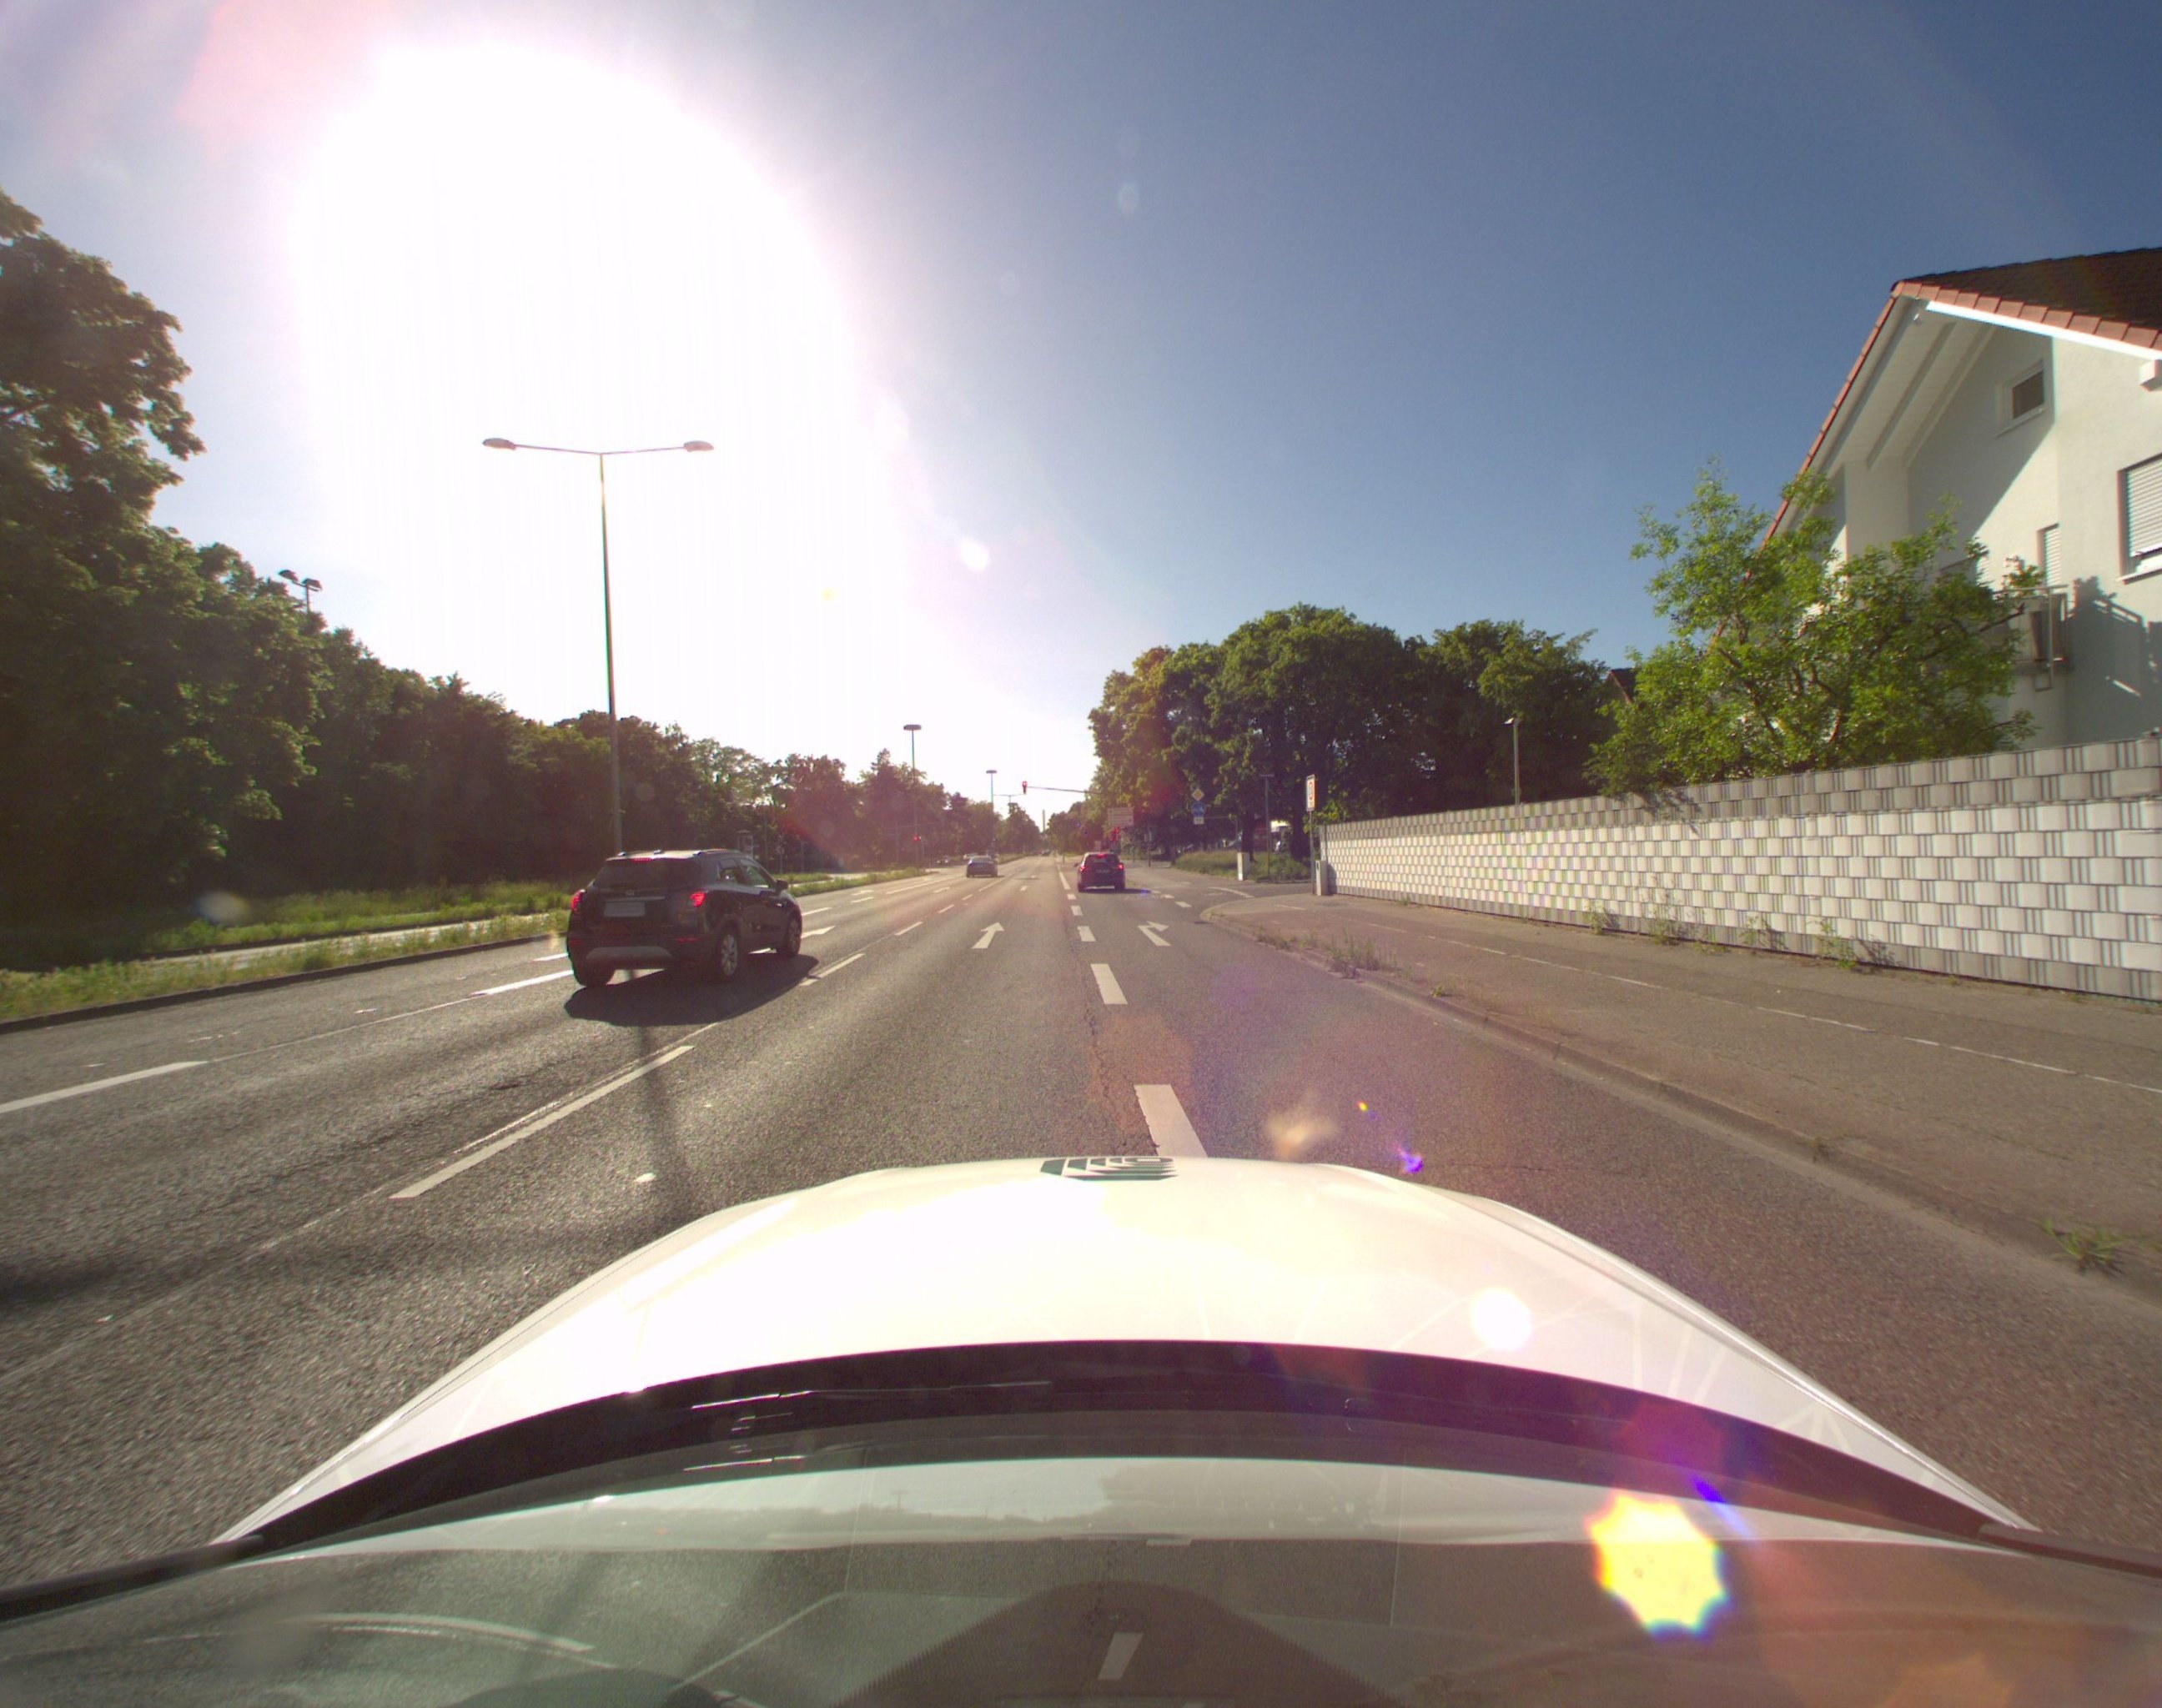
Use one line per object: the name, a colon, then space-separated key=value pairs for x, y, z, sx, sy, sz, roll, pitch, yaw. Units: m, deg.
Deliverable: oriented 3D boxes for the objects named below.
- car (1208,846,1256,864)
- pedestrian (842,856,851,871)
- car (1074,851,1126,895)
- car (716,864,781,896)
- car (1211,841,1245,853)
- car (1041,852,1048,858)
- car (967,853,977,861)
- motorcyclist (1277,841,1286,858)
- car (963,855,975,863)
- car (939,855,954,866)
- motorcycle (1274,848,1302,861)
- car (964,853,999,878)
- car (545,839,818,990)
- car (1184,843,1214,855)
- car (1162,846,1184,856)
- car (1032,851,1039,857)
car: x=15.151 y=0.108 z=81.801 sx=4.591 sy=1.574 sz=2.005 roll=-3 pitch=-1 yaw=9
pedestrian: x=-29.813 y=1.201 z=103.536 sx=0.842 sy=1.835 sz=0.550 roll=-1 pitch=-1 yaw=2
car: x=0.661 y=0.690 z=31.290 sx=1.751 sy=1.509 sz=3.805 roll=-2 pitch=0 yaw=-2
car: x=-18.609 y=1.413 z=45.771 sx=1.907 sy=1.703 sz=4.404 roll=-1 pitch=-1 yaw=-2
car: x=18.607 y=-0.946 z=103.007 sx=3.850 sy=1.482 sz=1.792 roll=0 pitch=0 yaw=-22
car: x=-9.668 y=0.306 z=215.840 sx=1.728 sy=1.585 sz=3.837 roll=0 pitch=0 yaw=-2
car: x=-24.986 y=0.713 z=187.095 sx=1.859 sy=1.684 sz=3.997 roll=0 pitch=0 yaw=-2
motorcyclist: x=19.970 y=-0.436 z=80.972 sx=0.854 sy=1.680 sz=0.837 roll=-1 pitch=0 yaw=14
car: x=-22.798 y=1.031 z=165.930 sx=1.859 sy=1.684 sz=3.997 roll=0 pitch=0 yaw=-2
car: x=-21.251 y=1.076 z=128.709 sx=1.859 sy=1.684 sz=4.257 roll=0 pitch=0 yaw=-2
motorcycle: x=20.577 y=0.022 z=80.849 sx=2.705 sy=1.270 sz=0.837 roll=0 pitch=0 yaw=14
car: x=-6.657 y=0.746 z=54.878 sx=1.884 sy=1.552 sz=3.997 roll=-3 pitch=0 yaw=-2
car: x=-5.205 y=0.672 z=11.390 sx=1.691 sy=1.632 sz=4.414 roll=-2 pitch=0 yaw=-2
car: x=15.886 y=-0.695 z=109.781 sx=3.864 sy=1.563 sz=1.786 roll=0 pitch=0 yaw=-34
car: x=16.360 y=-0.559 z=145.158 sx=3.705 sy=1.685 sz=1.701 roll=0 pitch=0 yaw=-5
car: x=-13.750 y=-0.100 z=245.328 sx=1.821 sy=1.615 sz=3.834 roll=-1 pitch=-3 yaw=-4
